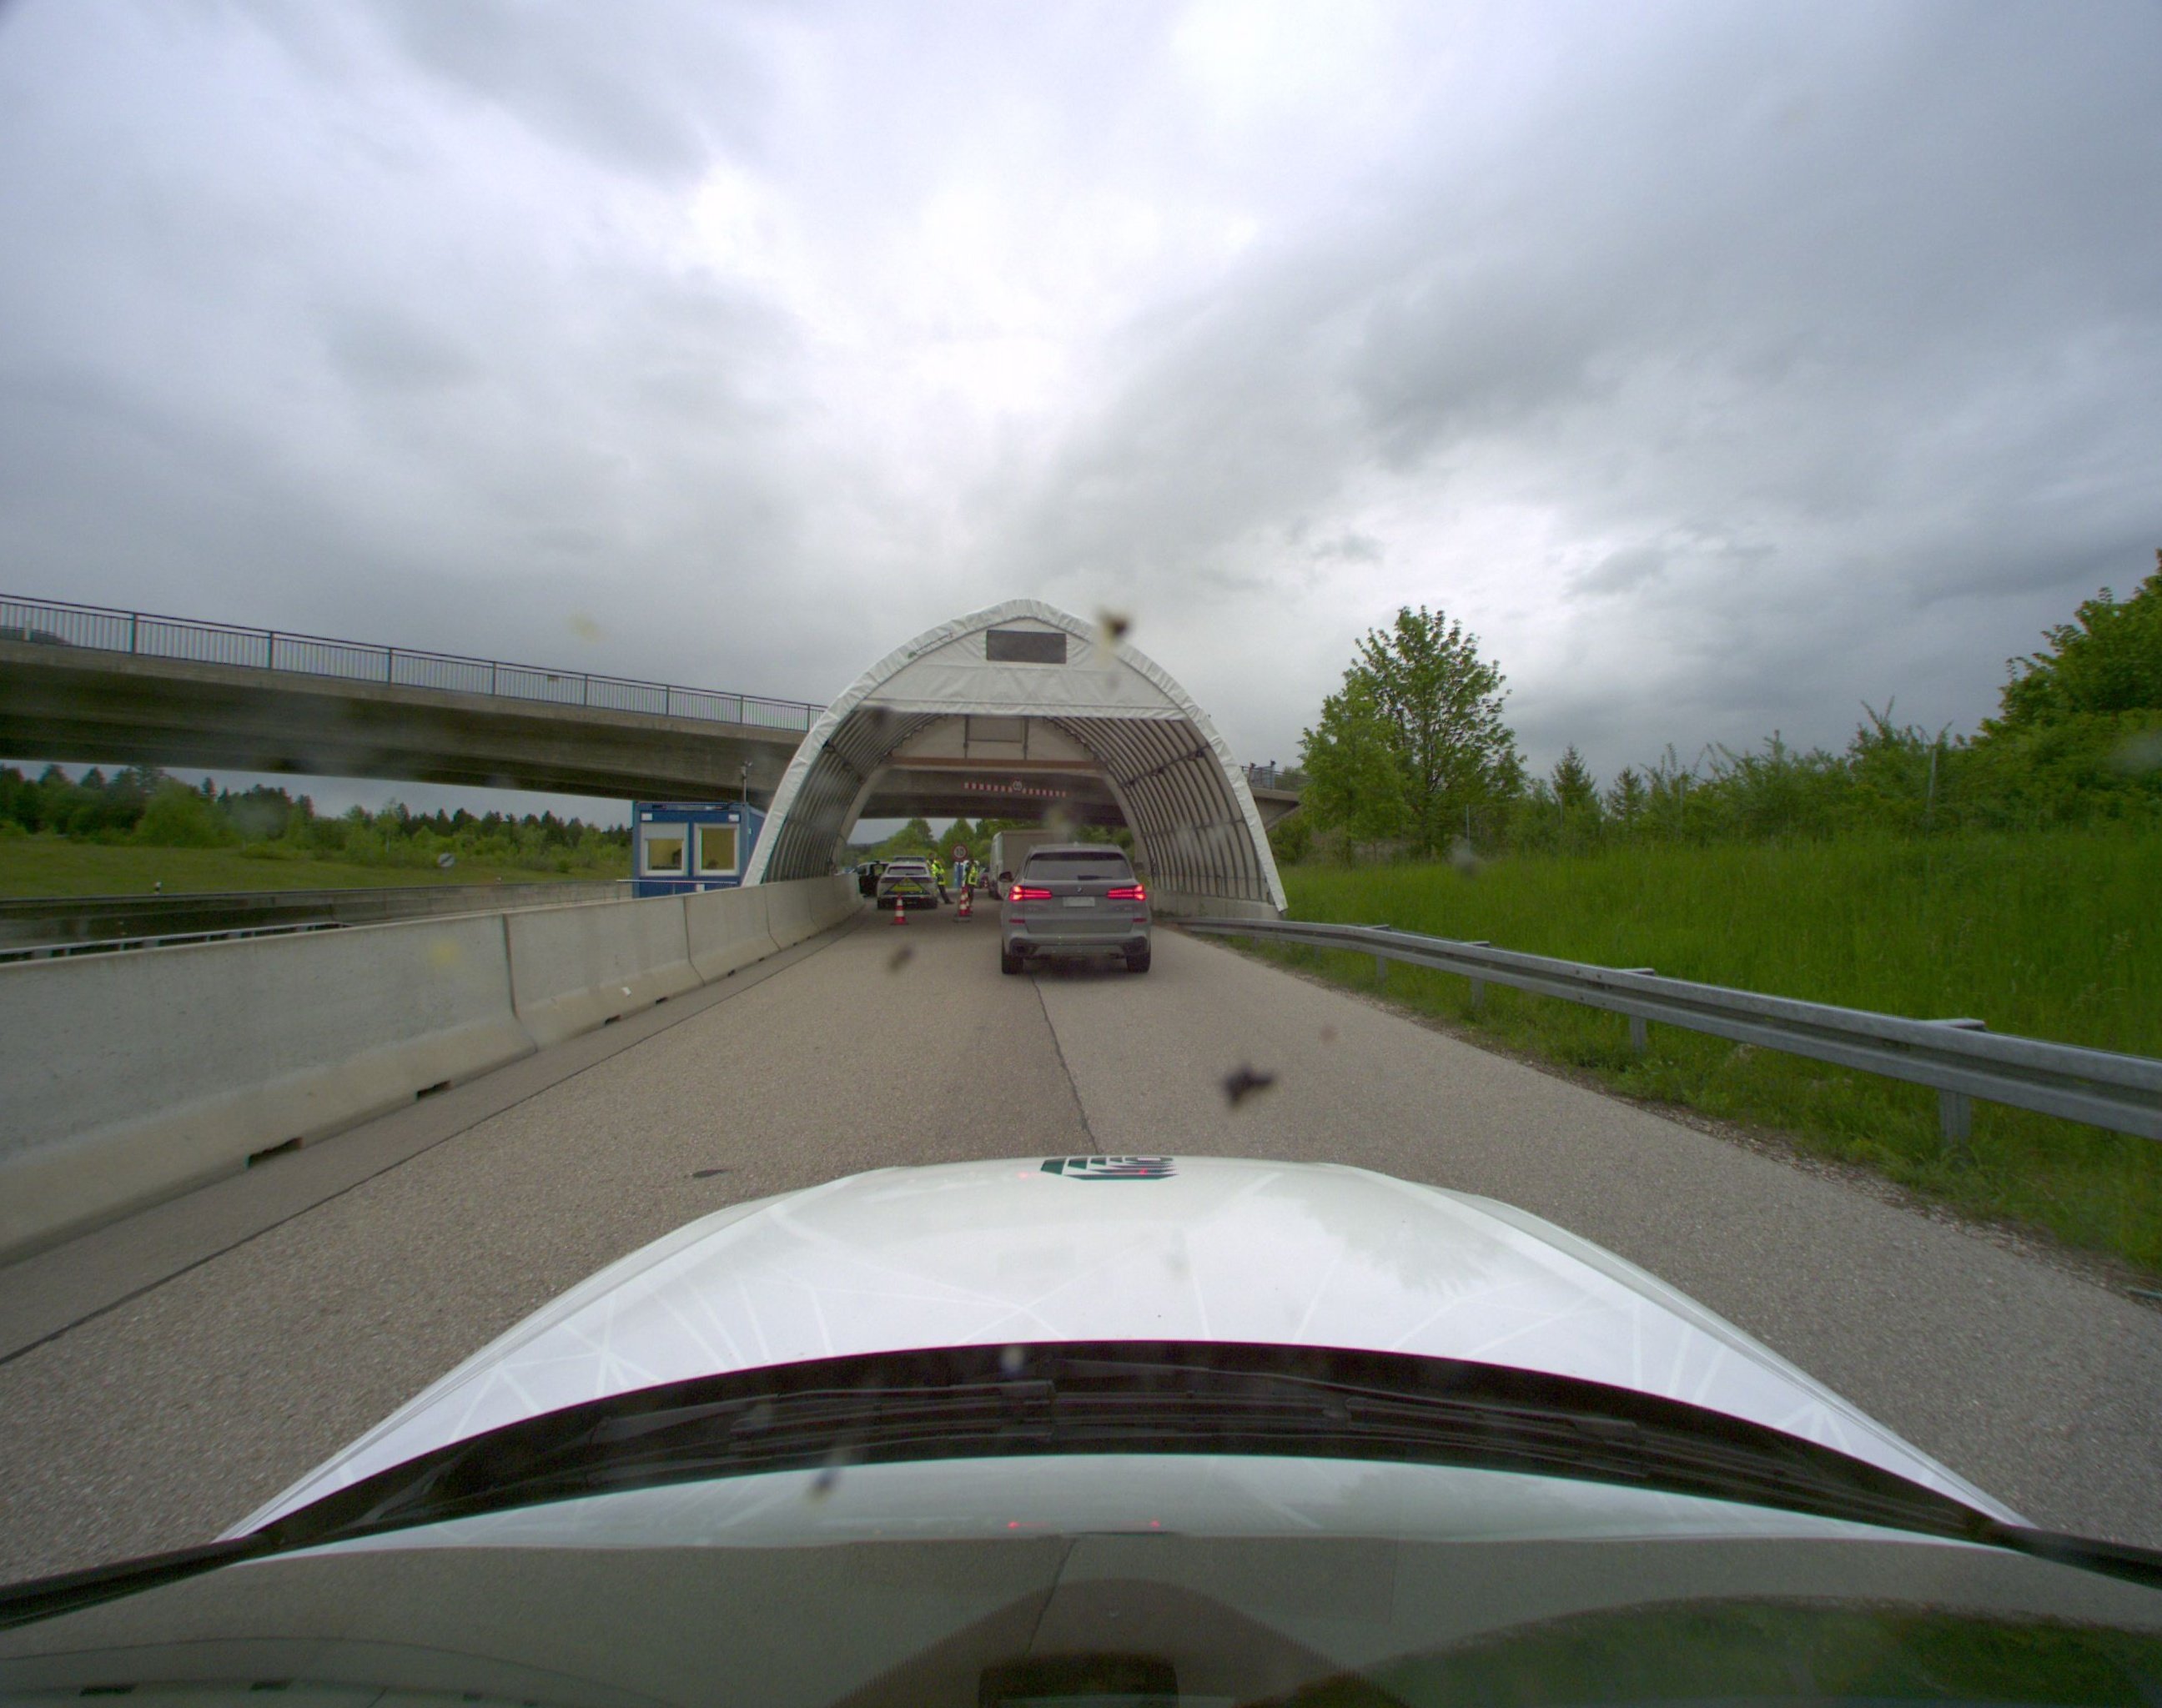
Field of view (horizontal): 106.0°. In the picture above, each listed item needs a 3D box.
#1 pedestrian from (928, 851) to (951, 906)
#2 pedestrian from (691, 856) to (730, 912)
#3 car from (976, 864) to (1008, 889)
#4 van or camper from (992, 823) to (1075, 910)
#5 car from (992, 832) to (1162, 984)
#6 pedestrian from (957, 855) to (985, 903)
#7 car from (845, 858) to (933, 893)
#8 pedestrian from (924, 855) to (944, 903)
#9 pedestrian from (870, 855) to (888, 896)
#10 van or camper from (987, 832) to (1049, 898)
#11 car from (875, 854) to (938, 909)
[{"bbox_3d":[-5.078,0.872,29.204,0.750,1.919,0.759,-1,-1,-13],"label":"pedestrian"},{"bbox_3d":[-9.243,0.735,20.310,0.606,1.373,0.629,-2,-1,10],"label":"pedestrian"},{"bbox_3d":[-6.479,1.604,58.711,1.994,1.722,3.882,-1,-1,-11],"label":"car"},{"bbox_3d":[-1.772,0.420,27.799,2.229,2.552,6.591,-1,-1,-8],"label":"van or camper"},{"bbox_3d":[-0.246,0.670,11.800,1.992,1.765,3.990,-1,-1,-7],"label":"car"},{"bbox_3d":[-4.035,0.892,29.800,0.774,1.722,0.759,-2,-1,11],"label":"pedestrian"},{"bbox_3d":[-11.630,1.303,49.377,4.777,2.014,1.845,-1,-1,9],"label":"car"},{"bbox_3d":[-5.432,0.913,30.176,0.607,1.754,0.665,-1,-1,-4],"label":"pedestrian"},{"bbox_3d":[-10.111,1.074,40.720,0.698,2.014,0.692,-1,-1,1],"label":"pedestrian"},{"bbox_3d":[-2.749,0.459,34.057,2.103,2.519,5.533,-1,-1,-9],"label":"van or camper"},{"bbox_3d":[-5.774,0.877,27.034,1.879,1.647,3.983,-1,-1,-12],"label":"car"}]
